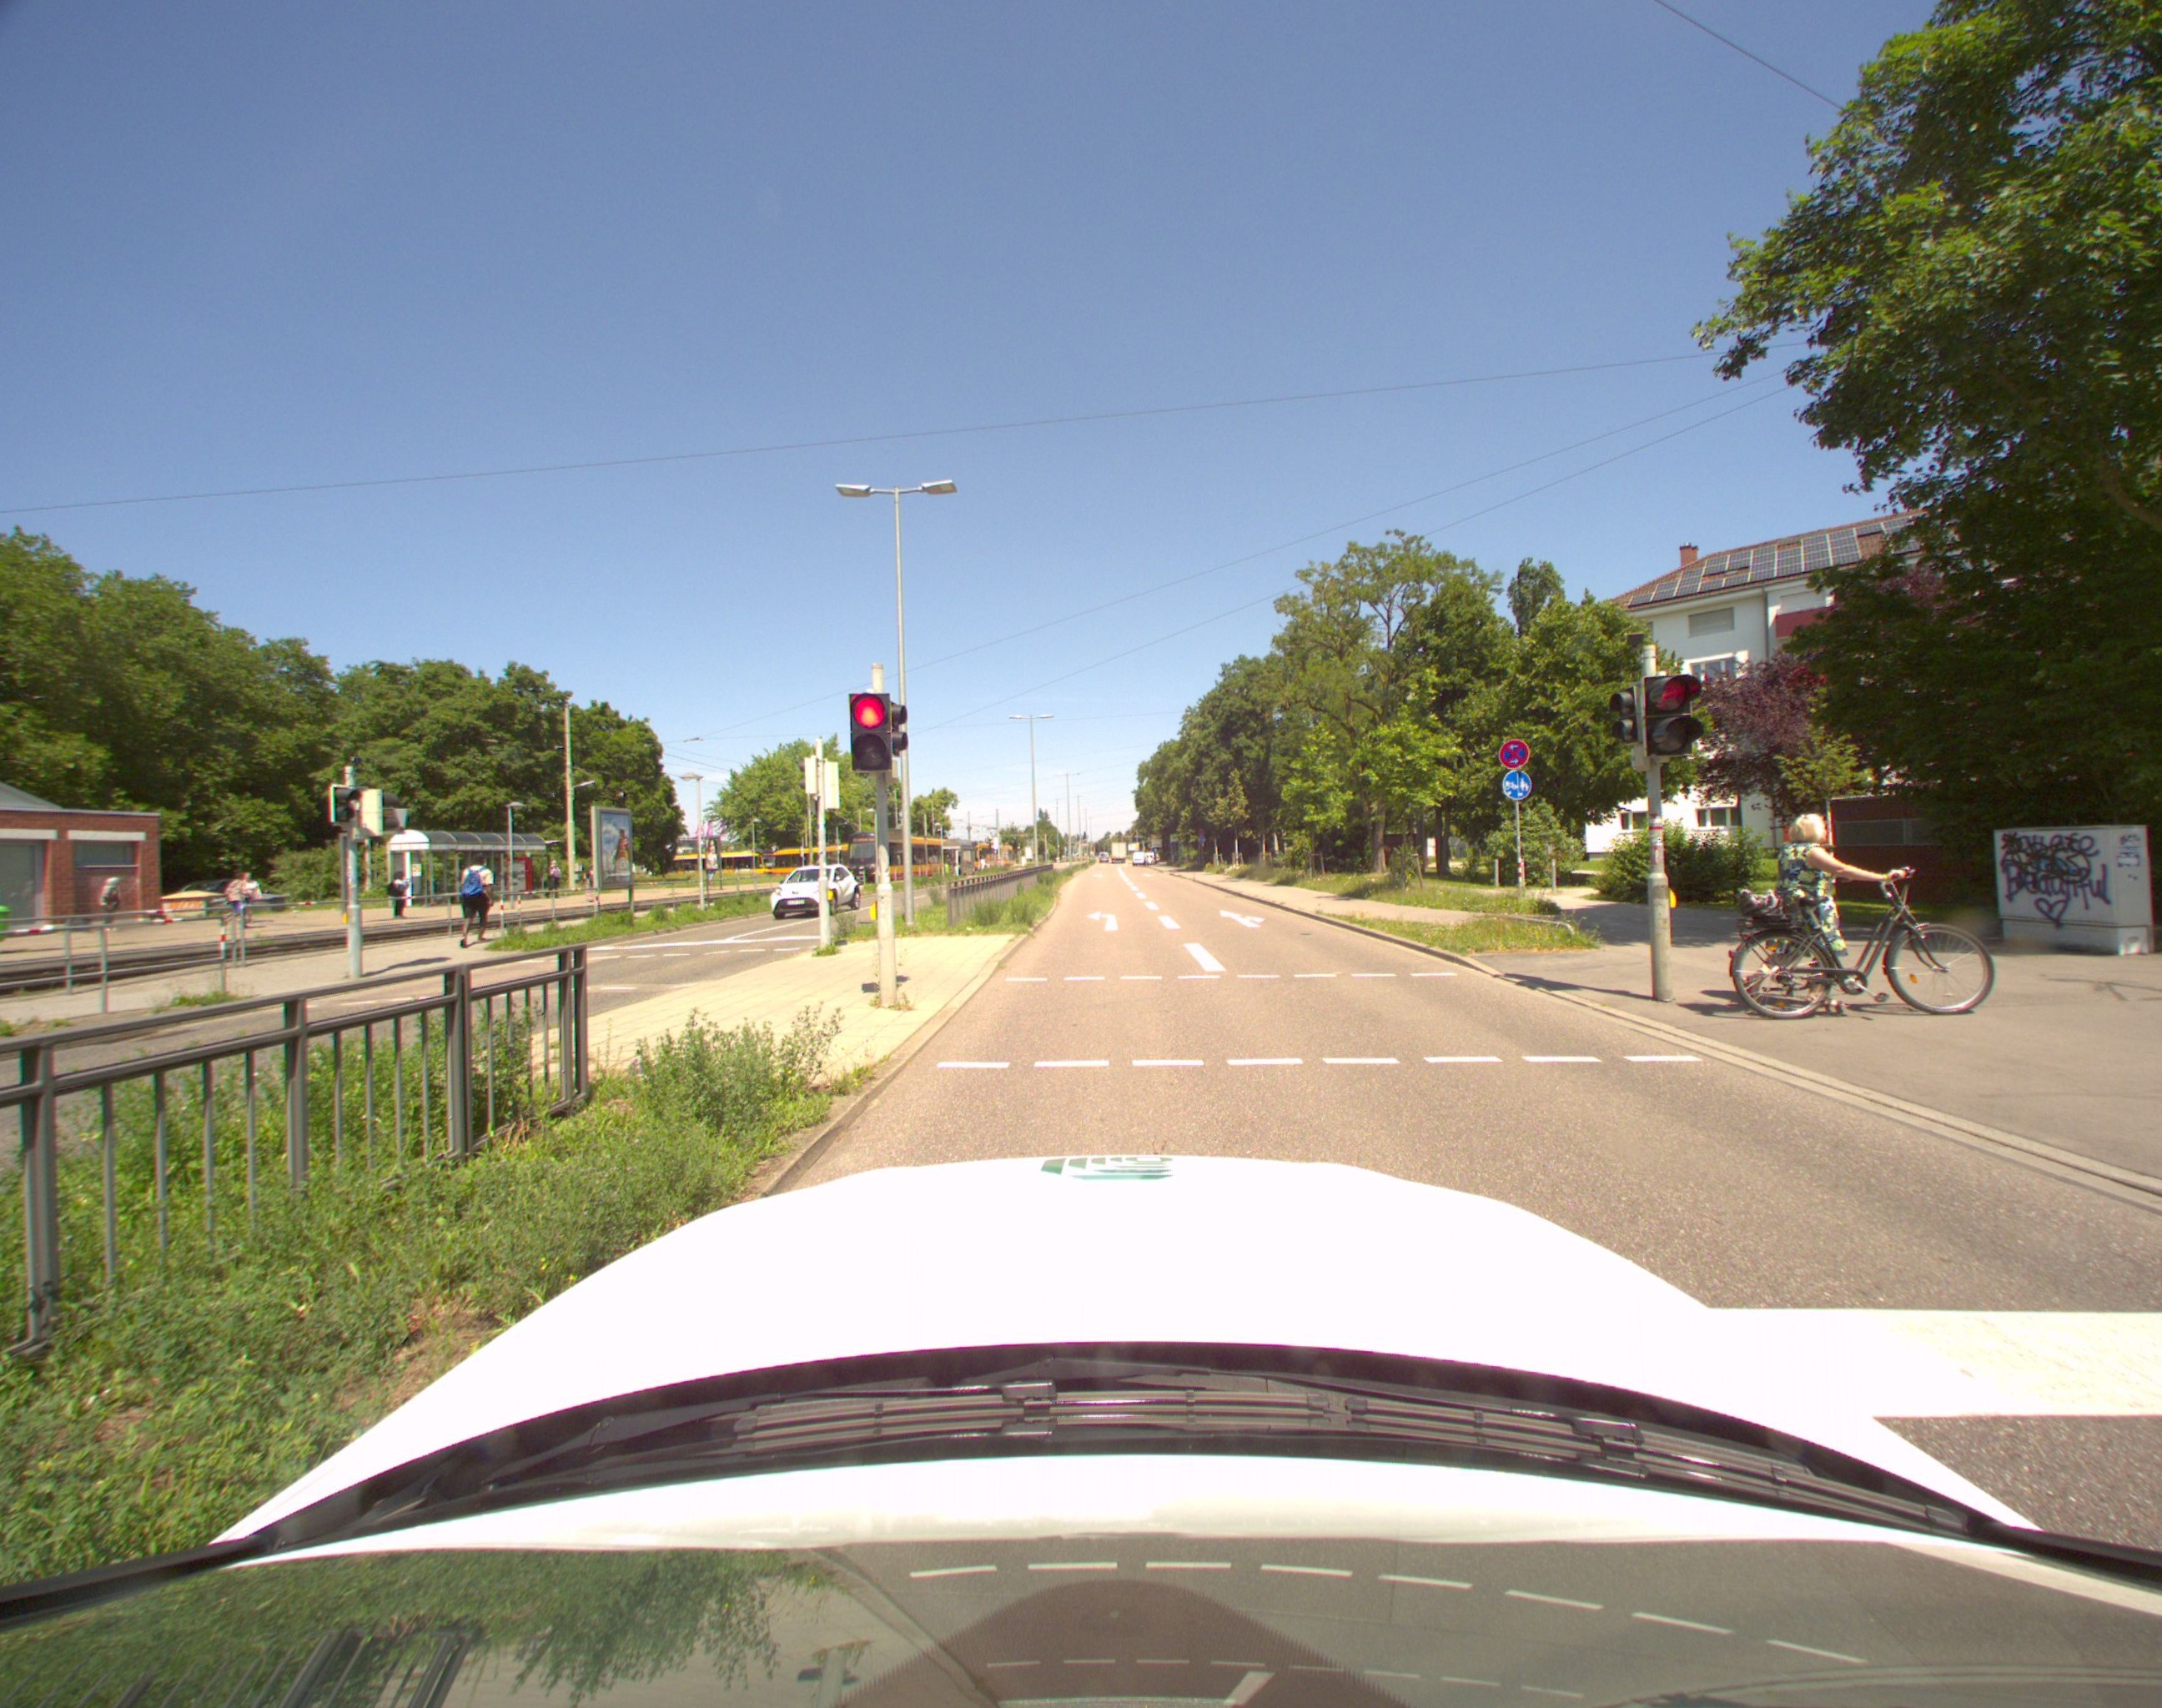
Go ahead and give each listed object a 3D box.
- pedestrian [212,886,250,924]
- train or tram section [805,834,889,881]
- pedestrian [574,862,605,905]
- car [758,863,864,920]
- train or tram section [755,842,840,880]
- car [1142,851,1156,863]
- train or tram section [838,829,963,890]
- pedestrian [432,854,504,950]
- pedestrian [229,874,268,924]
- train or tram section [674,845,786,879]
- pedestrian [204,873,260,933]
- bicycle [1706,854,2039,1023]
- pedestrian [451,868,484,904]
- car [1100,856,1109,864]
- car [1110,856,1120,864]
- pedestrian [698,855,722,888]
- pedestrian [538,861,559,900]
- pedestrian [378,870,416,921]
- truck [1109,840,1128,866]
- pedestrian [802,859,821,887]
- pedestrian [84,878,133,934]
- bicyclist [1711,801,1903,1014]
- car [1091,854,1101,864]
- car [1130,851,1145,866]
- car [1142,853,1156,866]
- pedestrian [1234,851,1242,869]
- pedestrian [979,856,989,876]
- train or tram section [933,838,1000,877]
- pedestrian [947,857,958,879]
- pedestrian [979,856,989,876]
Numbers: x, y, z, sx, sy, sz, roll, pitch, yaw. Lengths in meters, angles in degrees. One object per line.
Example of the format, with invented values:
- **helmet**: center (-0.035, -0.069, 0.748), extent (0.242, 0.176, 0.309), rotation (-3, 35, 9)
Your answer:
- **pedestrian**: center (-26.363, 1.581, 25.261), extent (0.634, 1.124, 0.572), rotation (-2, 0, 16)
- **train or tram section**: center (-22.831, 0.435, 78.135), extent (3.236, 3.931, 18.319), rotation (-1, 0, -30)
- **pedestrian**: center (-21.219, 1.252, 35.174), extent (0.715, 1.777, 0.843), rotation (3, 2, 1)
- **car**: center (-8.120, 1.085, 24.898), extent (1.838, 1.494, 3.793), rotation (-2, 0, 2)
- **train or tram section**: center (-32.677, 0.891, 92.899), extent (3.242, 3.931, 18.286), rotation (-1, 0, -39)
- **car**: center (9.893, 0.464, 118.755), extent (1.773, 1.668, 4.002), rotation (-2, 0, 2)
- **train or tram section**: center (-13.490, 0.344, 66.095), extent (2.947, 3.749, 30.036), rotation (-2, 0, 1)
- **pedestrian**: center (-12.025, 0.916, 16.007), extent (0.715, 1.777, 0.843), rotation (3, 2, 1)
- **pedestrian**: center (-25.367, 1.369, 24.823), extent (0.634, 1.456, 0.585), rotation (-2, 0, 16)
- **train or tram section**: center (-44.867, 1.096, 103.636), extent (18.260, 3.931, 3.247), rotation (-2, 0, 32)
- **pedestrian**: center (-23.553, 1.355, 22.609), extent (0.669, 1.590, 0.808), rotation (-2, 0, 1)
- **bicycle**: center (6.320, 0.661, 6.579), extent (1.948, 1.161, 0.542), rotation (-5, -1, 6)
- **pedestrian**: center (-26.287, 1.374, 34.885), extent (0.836, 1.511, 0.723), rotation (-2, 0, 12)
- **car**: center (4.539, 1.176, 157.998), extent (1.804, 1.464, 4.002), rotation (-2, 0, 2)
- **car**: center (6.468, 1.149, 153.681), extent (1.804, 1.464, 4.002), rotation (-2, 0, 2)
- **pedestrian**: center (-22.961, 1.083, 50.420), extent (0.977, 2.013, 1.021), rotation (-2, 0, 1)
- **pedestrian**: center (-25.376, 1.241, 38.799), extent (0.725, 1.800, 0.835), rotation (-1, -1, -41)
- **pedestrian**: center (-21.544, 1.292, 25.653), extent (0.635, 1.555, 0.691), rotation (-2, 0, -11)
- **truck**: center (6.754, -0.165, 146.130), extent (3.193, 4.359, 6.563), rotation (-2, 0, 2)
- **pedestrian**: center (-19.621, 1.359, 59.254), extent (0.977, 2.013, 1.021), rotation (-2, 0, 1)
- **pedestrian**: center (-26.695, 1.428, 22.358), extent (0.636, 1.480, 0.570), rotation (-2, 0, 1)
- **bicyclist**: center (6.118, 0.438, 6.909), extent (0.952, 1.667, 0.581), rotation (-5, -1, 6)
- **car**: center (3.305, 1.102, 175.324), extent (1.986, 2.013, 4.002), rotation (-2, 0, 2)
- **car**: center (7.285, 0.565, 105.532), extent (1.773, 1.903, 4.002), rotation (-2, 0, 2)
- **car**: center (9.373, 0.722, 112.414), extent (1.773, 1.668, 4.002), rotation (-2, 0, 2)
- **pedestrian**: center (12.542, 0.470, 65.125), extent (0.600, 1.438, 0.557), rotation (-2, 0, 8)
- **pedestrian**: center (-10.141, 1.255, 85.357), extent (0.812, 2.013, 0.939), rotation (-2, 0, 1)
- **train or tram section**: center (-13.089, 0.405, 97.550), extent (2.921, 3.789, 33.086), rotation (-2, 0, 1)
- **pedestrian**: center (-10.987, 1.203, 69.720), extent (0.783, 1.868, 0.818), rotation (-2, 0, 1)
- **pedestrian**: center (-10.004, 1.244, 84.110), extent (0.812, 2.013, 0.939), rotation (-2, 0, 1)
